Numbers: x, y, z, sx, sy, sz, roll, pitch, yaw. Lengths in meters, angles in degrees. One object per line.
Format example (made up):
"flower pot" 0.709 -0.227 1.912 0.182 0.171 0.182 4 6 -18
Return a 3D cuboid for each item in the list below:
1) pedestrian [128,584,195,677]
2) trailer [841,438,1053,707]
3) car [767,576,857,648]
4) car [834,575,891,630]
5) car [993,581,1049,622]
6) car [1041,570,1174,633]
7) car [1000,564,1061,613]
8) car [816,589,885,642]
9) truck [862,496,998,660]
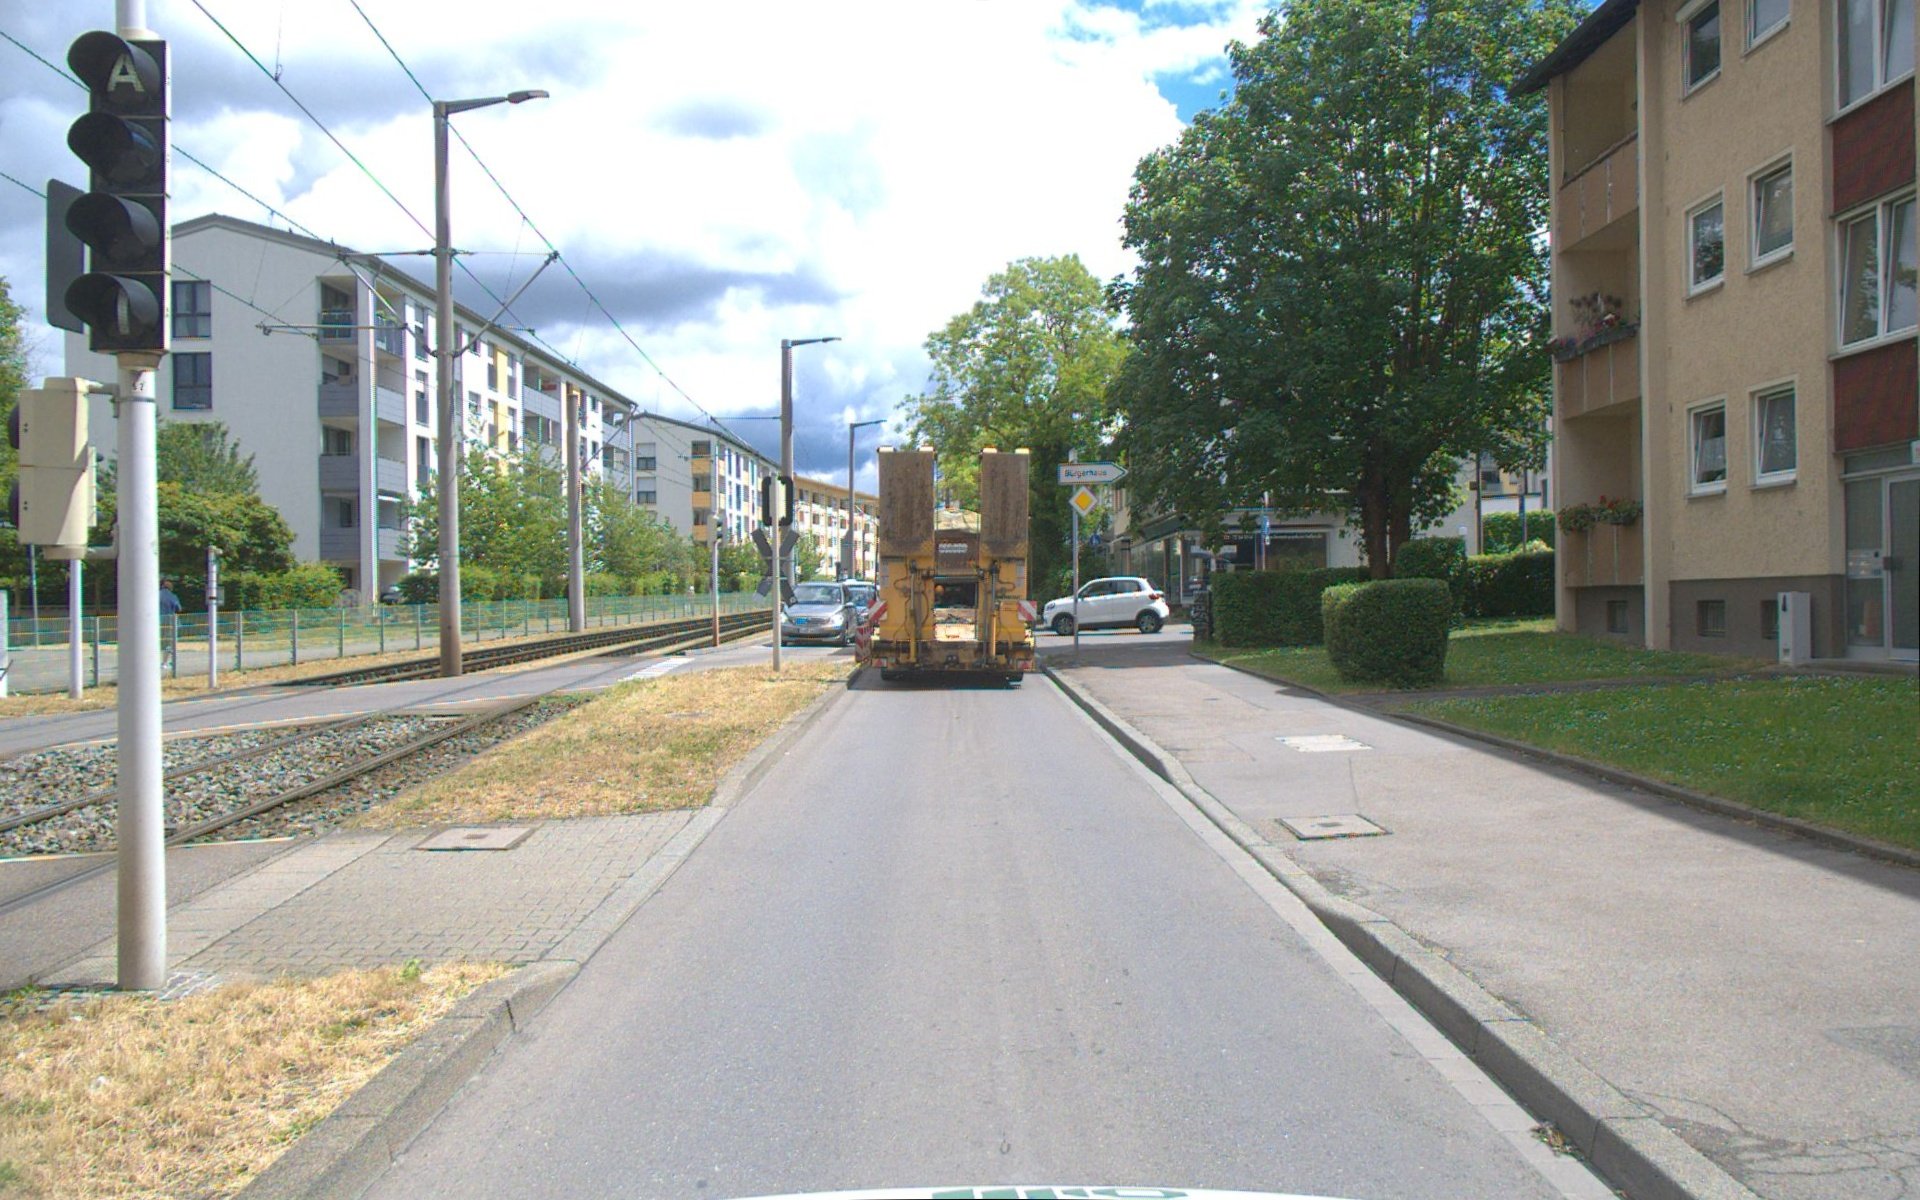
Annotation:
"pedestrian" -15.130 0.567 31.365 0.734 1.690 0.870 -2 1 3
"trailer" -0.495 -0.566 30.190 2.990 3.838 11.606 -2 2 -3
"car" -3.730 0.288 42.354 1.765 1.681 4.132 -2 0 2
"car" -3.313 0.083 56.902 1.568 1.762 3.939 -2 0 2
"car" 2.408 0.034 65.956 1.953 1.411 4.000 -2 2 -1
"car" 4.197 0.040 46.908 3.521 1.612 2.002 -2 0 11
"car" 2.569 -0.453 61.057 1.953 1.646 4.000 -2 2 -1
"car" -3.150 0.426 48.132 1.568 1.405 3.957 -2 0 2
"truck" -0.849 -0.578 39.301 2.777 3.388 7.980 -2 2 -3
